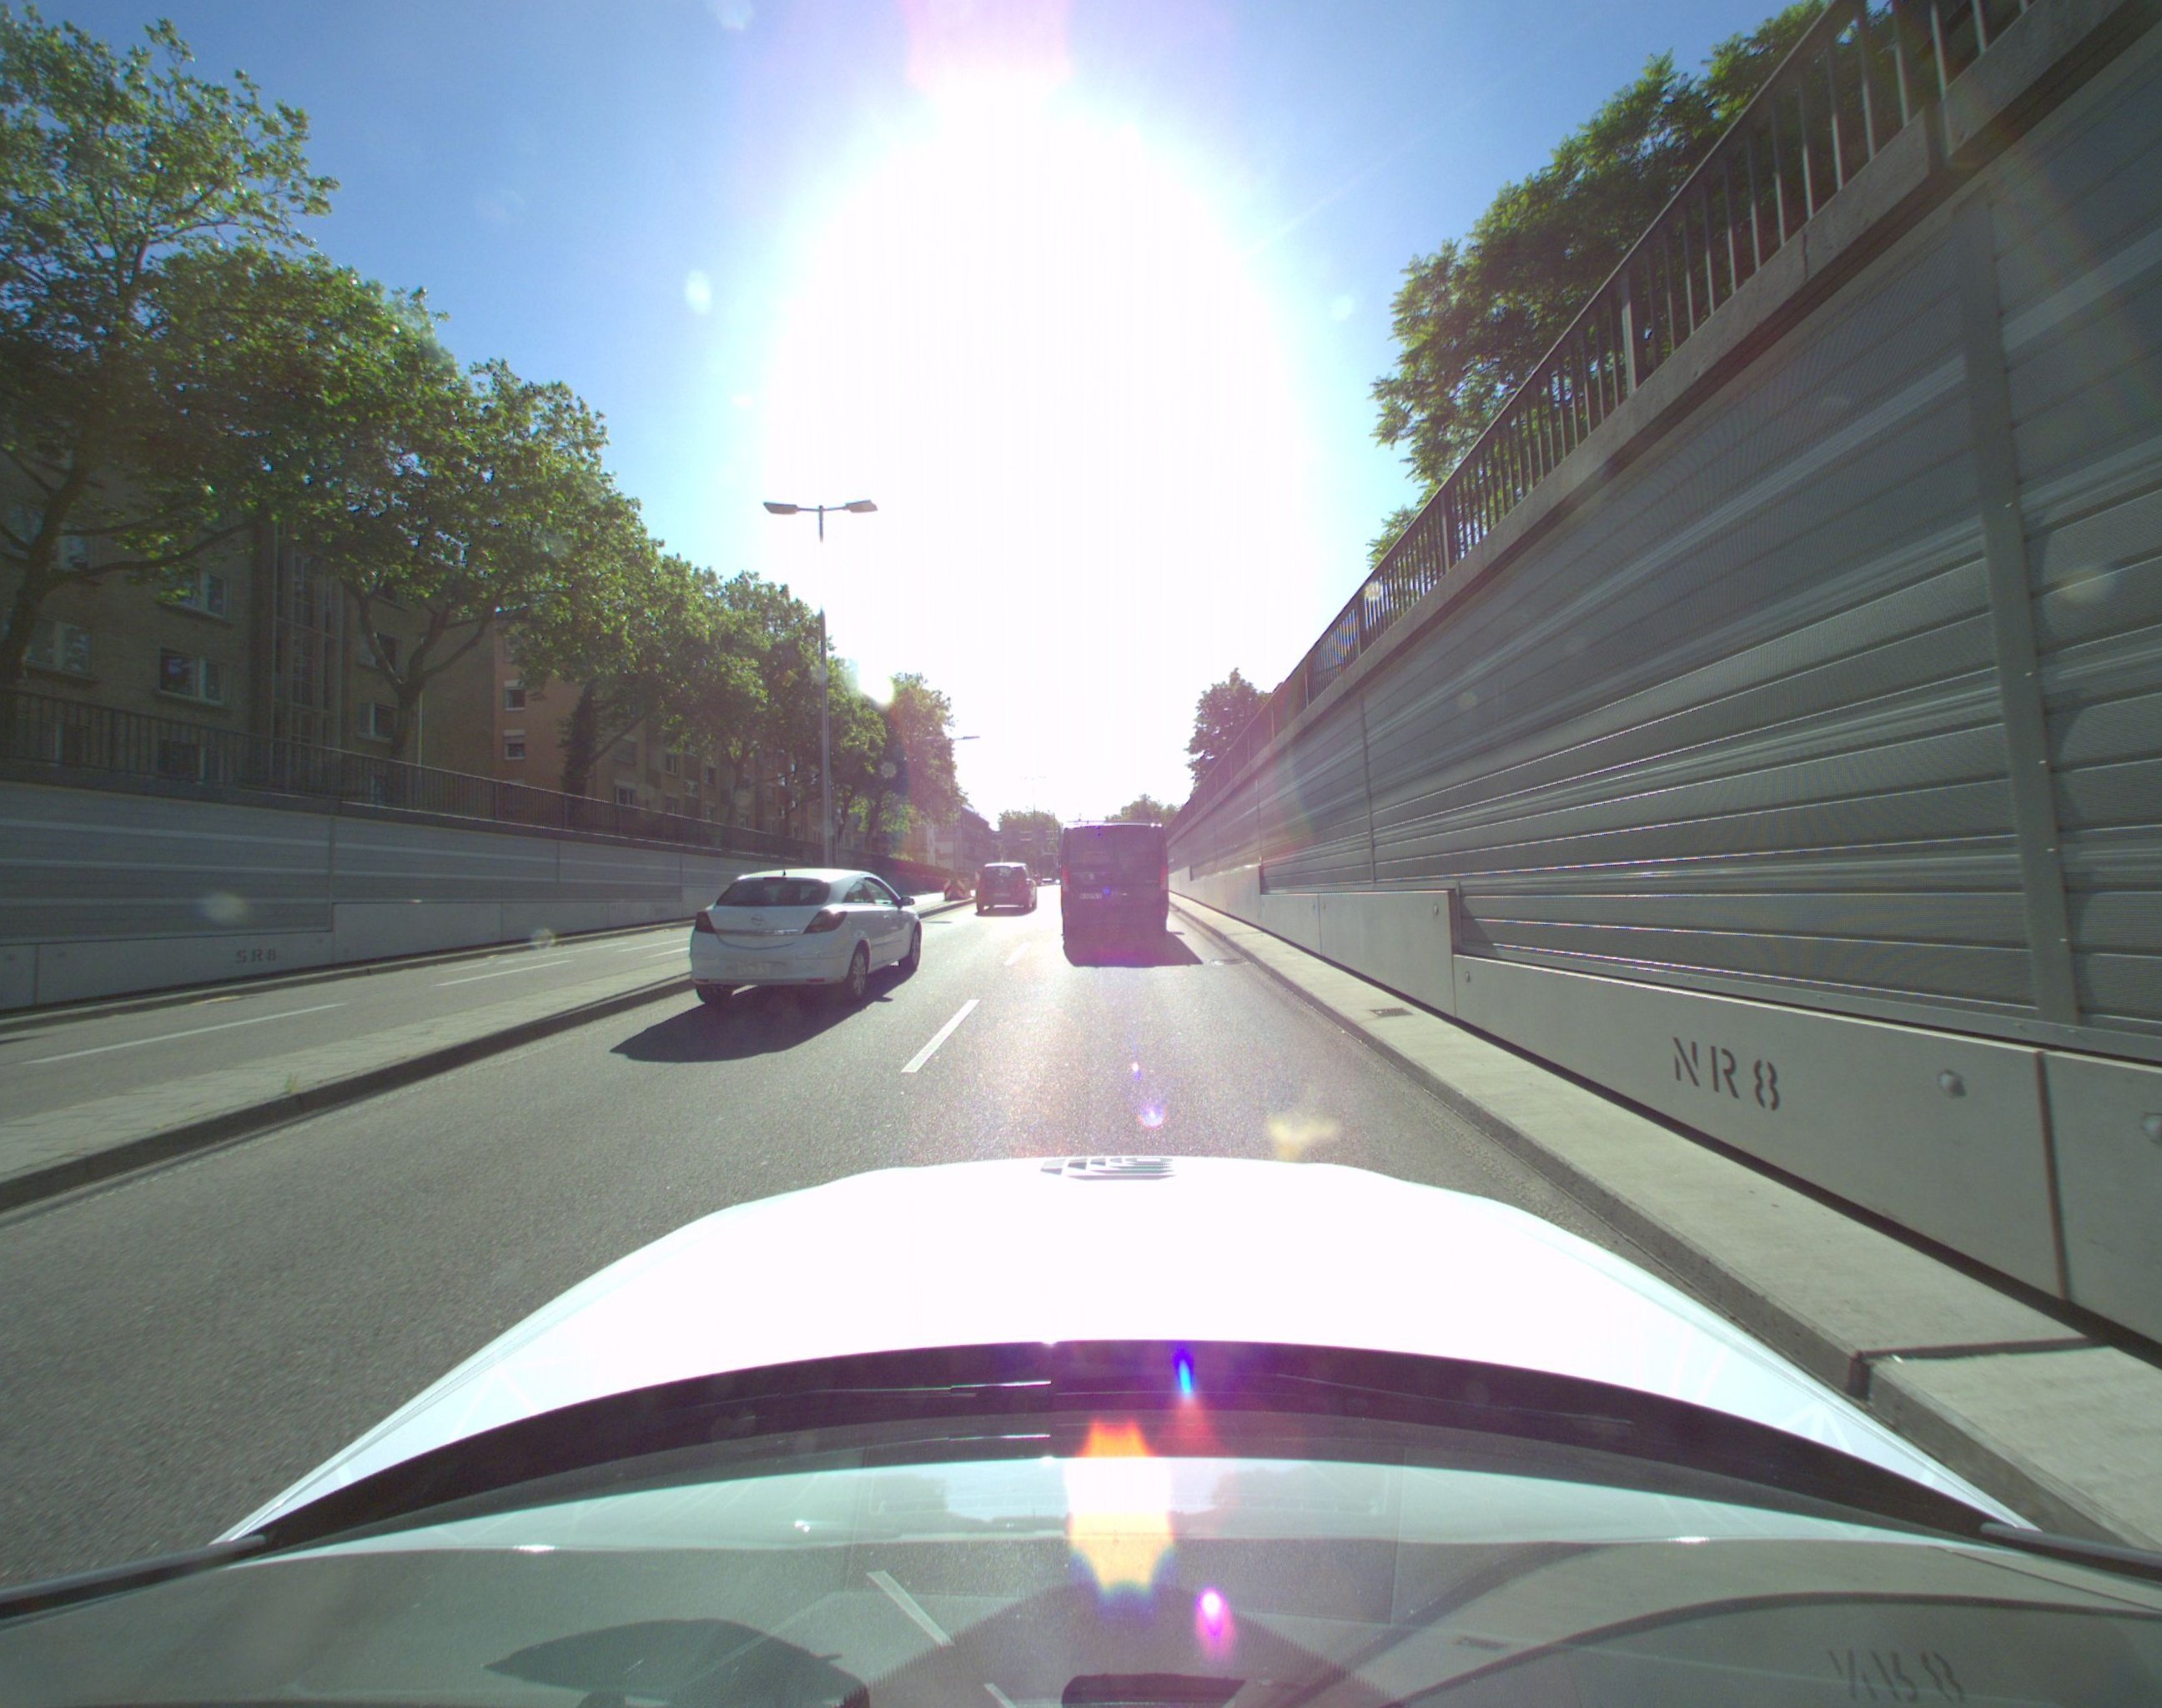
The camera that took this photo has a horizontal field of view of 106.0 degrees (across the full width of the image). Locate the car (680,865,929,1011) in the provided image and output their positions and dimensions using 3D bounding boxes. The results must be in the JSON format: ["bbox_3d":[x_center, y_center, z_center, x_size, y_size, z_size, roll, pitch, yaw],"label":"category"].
[{"bbox_3d":[-3.079,0.868,9.915,1.613,1.403,3.853,-1,-1,1],"label":"car"}]

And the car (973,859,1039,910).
[{"bbox_3d":[-2.302,0.911,25.743,1.683,1.483,3.319,-1,0,1],"label":"car"}]

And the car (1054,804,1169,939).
[{"bbox_3d":[0.618,0.363,16.783,2.022,2.403,3.974,-1,-1,2],"label":"car"}]

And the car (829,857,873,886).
[{"bbox_3d":[-19.664,1.536,69.945,1.985,2.360,5.421,-1,-2,3],"label":"car"}]
